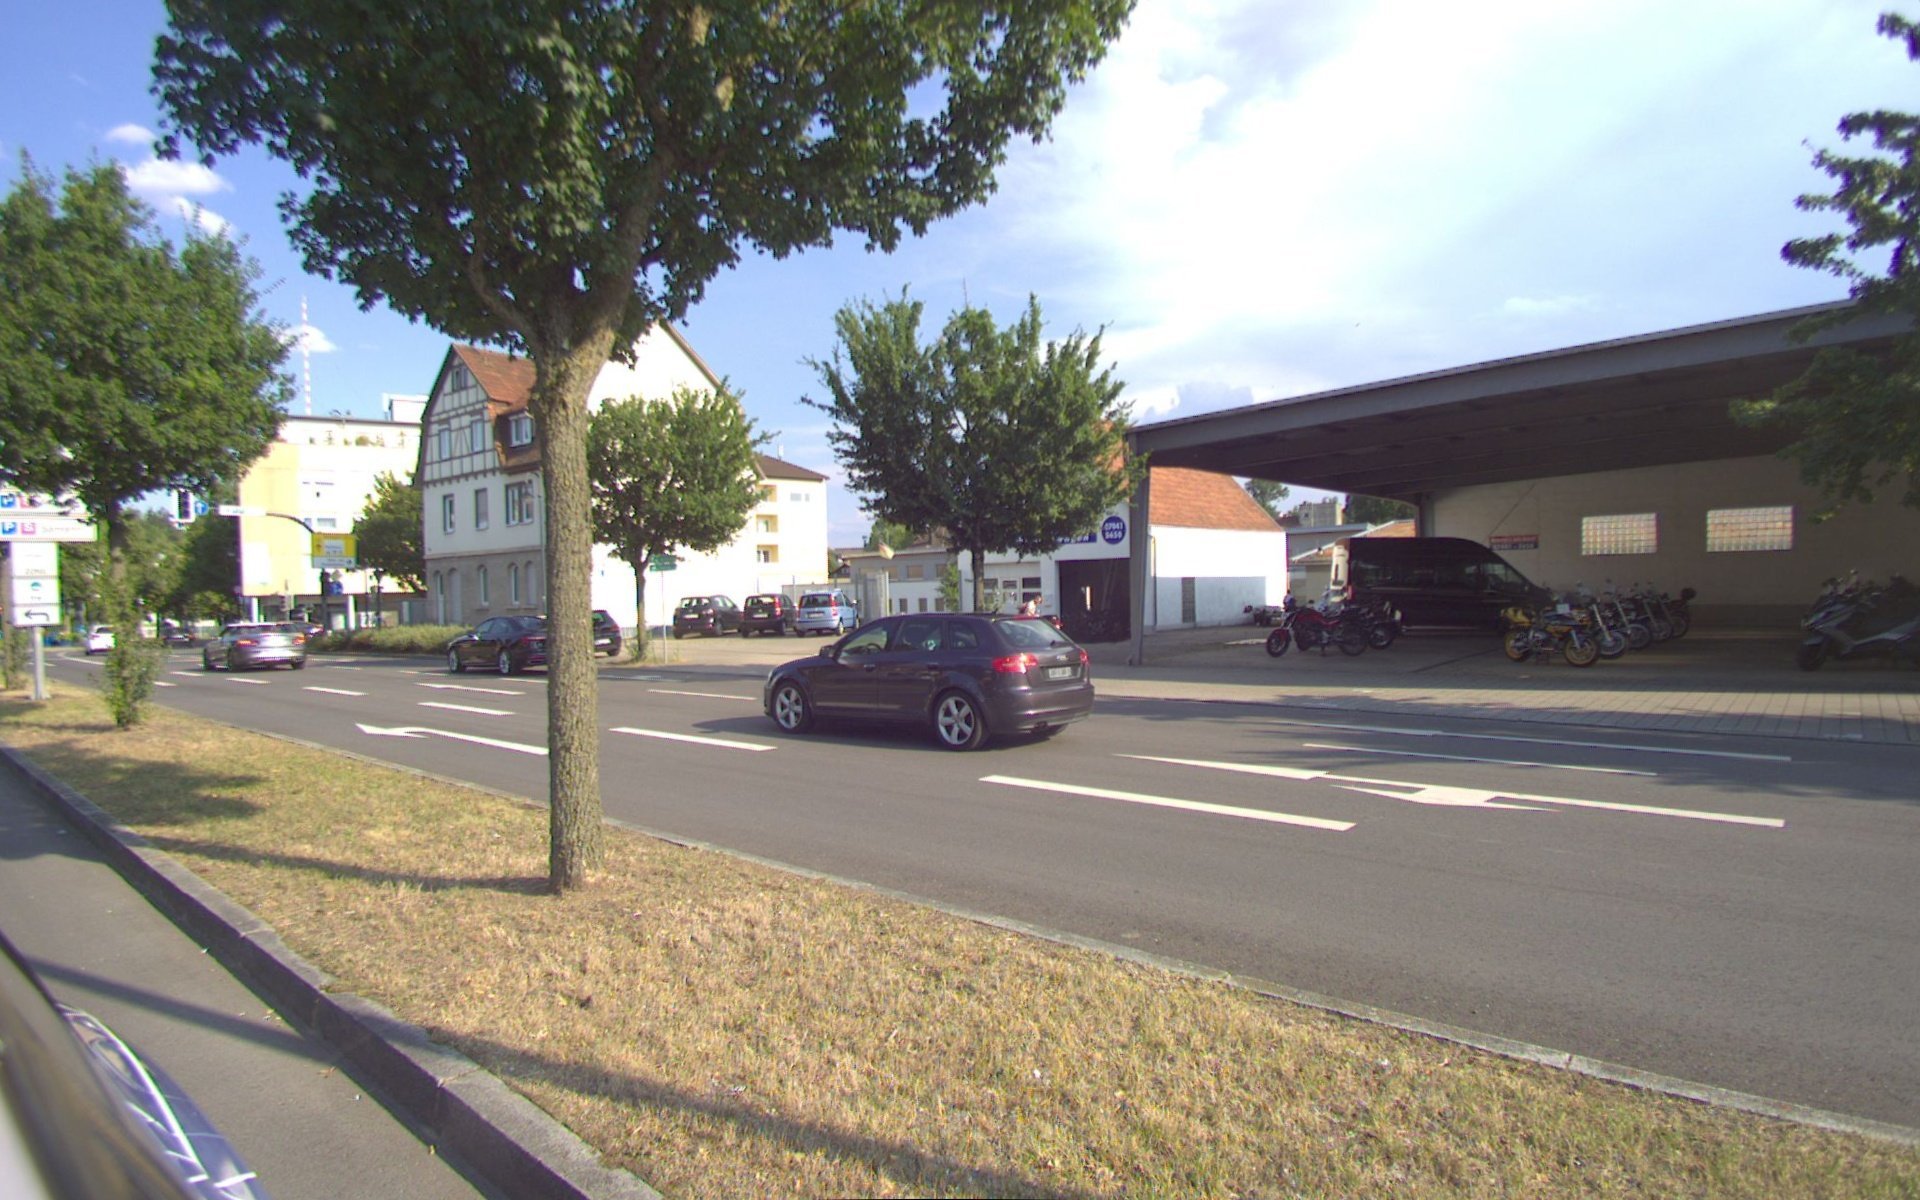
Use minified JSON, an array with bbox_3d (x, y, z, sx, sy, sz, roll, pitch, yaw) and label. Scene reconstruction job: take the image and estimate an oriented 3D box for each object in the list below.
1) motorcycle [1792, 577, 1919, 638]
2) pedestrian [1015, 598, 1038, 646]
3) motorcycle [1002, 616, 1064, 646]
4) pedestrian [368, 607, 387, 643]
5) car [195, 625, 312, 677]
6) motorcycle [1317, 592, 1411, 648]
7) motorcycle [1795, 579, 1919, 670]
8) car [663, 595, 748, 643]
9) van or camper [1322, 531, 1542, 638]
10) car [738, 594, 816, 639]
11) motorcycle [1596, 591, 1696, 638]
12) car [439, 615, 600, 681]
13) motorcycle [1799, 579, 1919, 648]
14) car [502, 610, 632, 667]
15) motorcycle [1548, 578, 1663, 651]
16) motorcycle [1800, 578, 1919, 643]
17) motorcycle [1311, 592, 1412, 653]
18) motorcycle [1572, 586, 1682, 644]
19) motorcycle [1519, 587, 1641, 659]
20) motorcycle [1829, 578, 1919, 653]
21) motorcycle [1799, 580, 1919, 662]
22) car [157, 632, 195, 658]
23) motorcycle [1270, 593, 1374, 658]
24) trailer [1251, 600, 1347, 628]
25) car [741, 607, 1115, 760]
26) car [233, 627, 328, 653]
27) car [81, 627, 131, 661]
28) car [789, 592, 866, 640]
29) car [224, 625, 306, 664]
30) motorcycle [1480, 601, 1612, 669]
[{"bbox_3d":[19.906,0.172,22.530,2.068,1.317,0.561,-1,0,12],"label":"motorcycle"},{"bbox_3d":[2.146,0.709,32.902,0.644,1.535,0.674,-1,0,-3],"label":"pedestrian"},{"bbox_3d":[2.389,1.015,33.350,2.212,0.927,0.500,-1,0,45],"label":"motorcycle"},{"bbox_3d":[-32.298,1.374,56.115,0.688,1.997,0.589,-1,0,-9],"label":"pedestrian"},{"bbox_3d":[-20.578,1.420,29.407,4.476,1.359,1.762,-1,0,41],"label":"car"},{"bbox_3d":[9.784,0.483,24.554,1.982,1.321,0.649,-1,0,5],"label":"motorcycle"},{"bbox_3d":[13.880,0.358,15.133,2.093,1.317,0.561,-1,0,12],"label":"motorcycle"},{"bbox_3d":[-9.414,0.670,37.746,1.747,1.563,3.992,-2,1,7],"label":"car"},{"bbox_3d":[12.722,-0.381,27.588,4.979,2.700,1.995,-1,0,8],"label":"van or camper"},{"bbox_3d":[-6.686,0.581,37.420,1.746,1.564,3.992,-1,0,7],"label":"car"},{"bbox_3d":[17.199,0.351,25.439,0.553,1.131,2.161,-1,0,-19],"label":"motorcycle"},{"bbox_3d":[-10.913,1.123,24.901,4.642,1.432,1.824,-1,0,41],"label":"car"},{"bbox_3d":[17.962,0.265,19.998,2.068,1.317,0.581,-1,0,12],"label":"motorcycle"},{"bbox_3d":[-11.746,1.103,30.161,4.193,1.454,1.816,-1,3,41],"label":"car"},{"bbox_3d":[13.790,0.302,21.698,0.584,1.459,2.161,-1,0,-19],"label":"motorcycle"},{"bbox_3d":[18.952,0.228,21.175,2.068,1.317,0.561,-1,0,12],"label":"motorcycle"},{"bbox_3d":[9.017,0.492,22.774,1.982,1.321,0.649,-1,0,5],"label":"motorcycle"},{"bbox_3d":[15.431,0.338,23.484,0.636,1.268,2.161,-1,0,-19],"label":"motorcycle"},{"bbox_3d":[12.109,0.434,19.846,0.553,1.340,2.161,-1,0,-19],"label":"motorcycle"},{"bbox_3d":[17.093,0.270,18.260,2.068,1.317,0.621,-1,0,12],"label":"motorcycle"},{"bbox_3d":[15.261,0.338,16.740,2.068,1.317,0.561,-1,0,12],"label":"motorcycle"},{"bbox_3d":[-50.219,2.844,64.799,1.784,1.508,4.252,-1,0,-40],"label":"car"},{"bbox_3d":[7.548,0.537,21.191,1.991,1.321,0.665,-1,0,18],"label":"motorcycle"},{"bbox_3d":[12.508,0.524,37.257,2.449,0.831,3.152,-1,2,38],"label":"trailer"},{"bbox_3d":[-0.494,0.816,11.412,4.186,1.397,1.628,-1,0,40],"label":"car"},{"bbox_3d":[-41.096,2.382,61.226,4.594,1.364,1.770,-1,0,-41],"label":"car"},{"bbox_3d":[-42.620,2.157,50.455,1.779,1.508,3.960,-1,0,-42],"label":"car"},{"bbox_3d":[-4.610,0.528,35.737,1.746,1.564,3.992,-1,0,7],"label":"car"},{"bbox_3d":[-28.327,1.774,41.186,4.710,1.473,1.668,-1,0,42],"label":"car"},{"bbox_3d":[10.436,0.602,18.133,0.620,1.132,2.161,-1,0,-19],"label":"motorcycle"}]
